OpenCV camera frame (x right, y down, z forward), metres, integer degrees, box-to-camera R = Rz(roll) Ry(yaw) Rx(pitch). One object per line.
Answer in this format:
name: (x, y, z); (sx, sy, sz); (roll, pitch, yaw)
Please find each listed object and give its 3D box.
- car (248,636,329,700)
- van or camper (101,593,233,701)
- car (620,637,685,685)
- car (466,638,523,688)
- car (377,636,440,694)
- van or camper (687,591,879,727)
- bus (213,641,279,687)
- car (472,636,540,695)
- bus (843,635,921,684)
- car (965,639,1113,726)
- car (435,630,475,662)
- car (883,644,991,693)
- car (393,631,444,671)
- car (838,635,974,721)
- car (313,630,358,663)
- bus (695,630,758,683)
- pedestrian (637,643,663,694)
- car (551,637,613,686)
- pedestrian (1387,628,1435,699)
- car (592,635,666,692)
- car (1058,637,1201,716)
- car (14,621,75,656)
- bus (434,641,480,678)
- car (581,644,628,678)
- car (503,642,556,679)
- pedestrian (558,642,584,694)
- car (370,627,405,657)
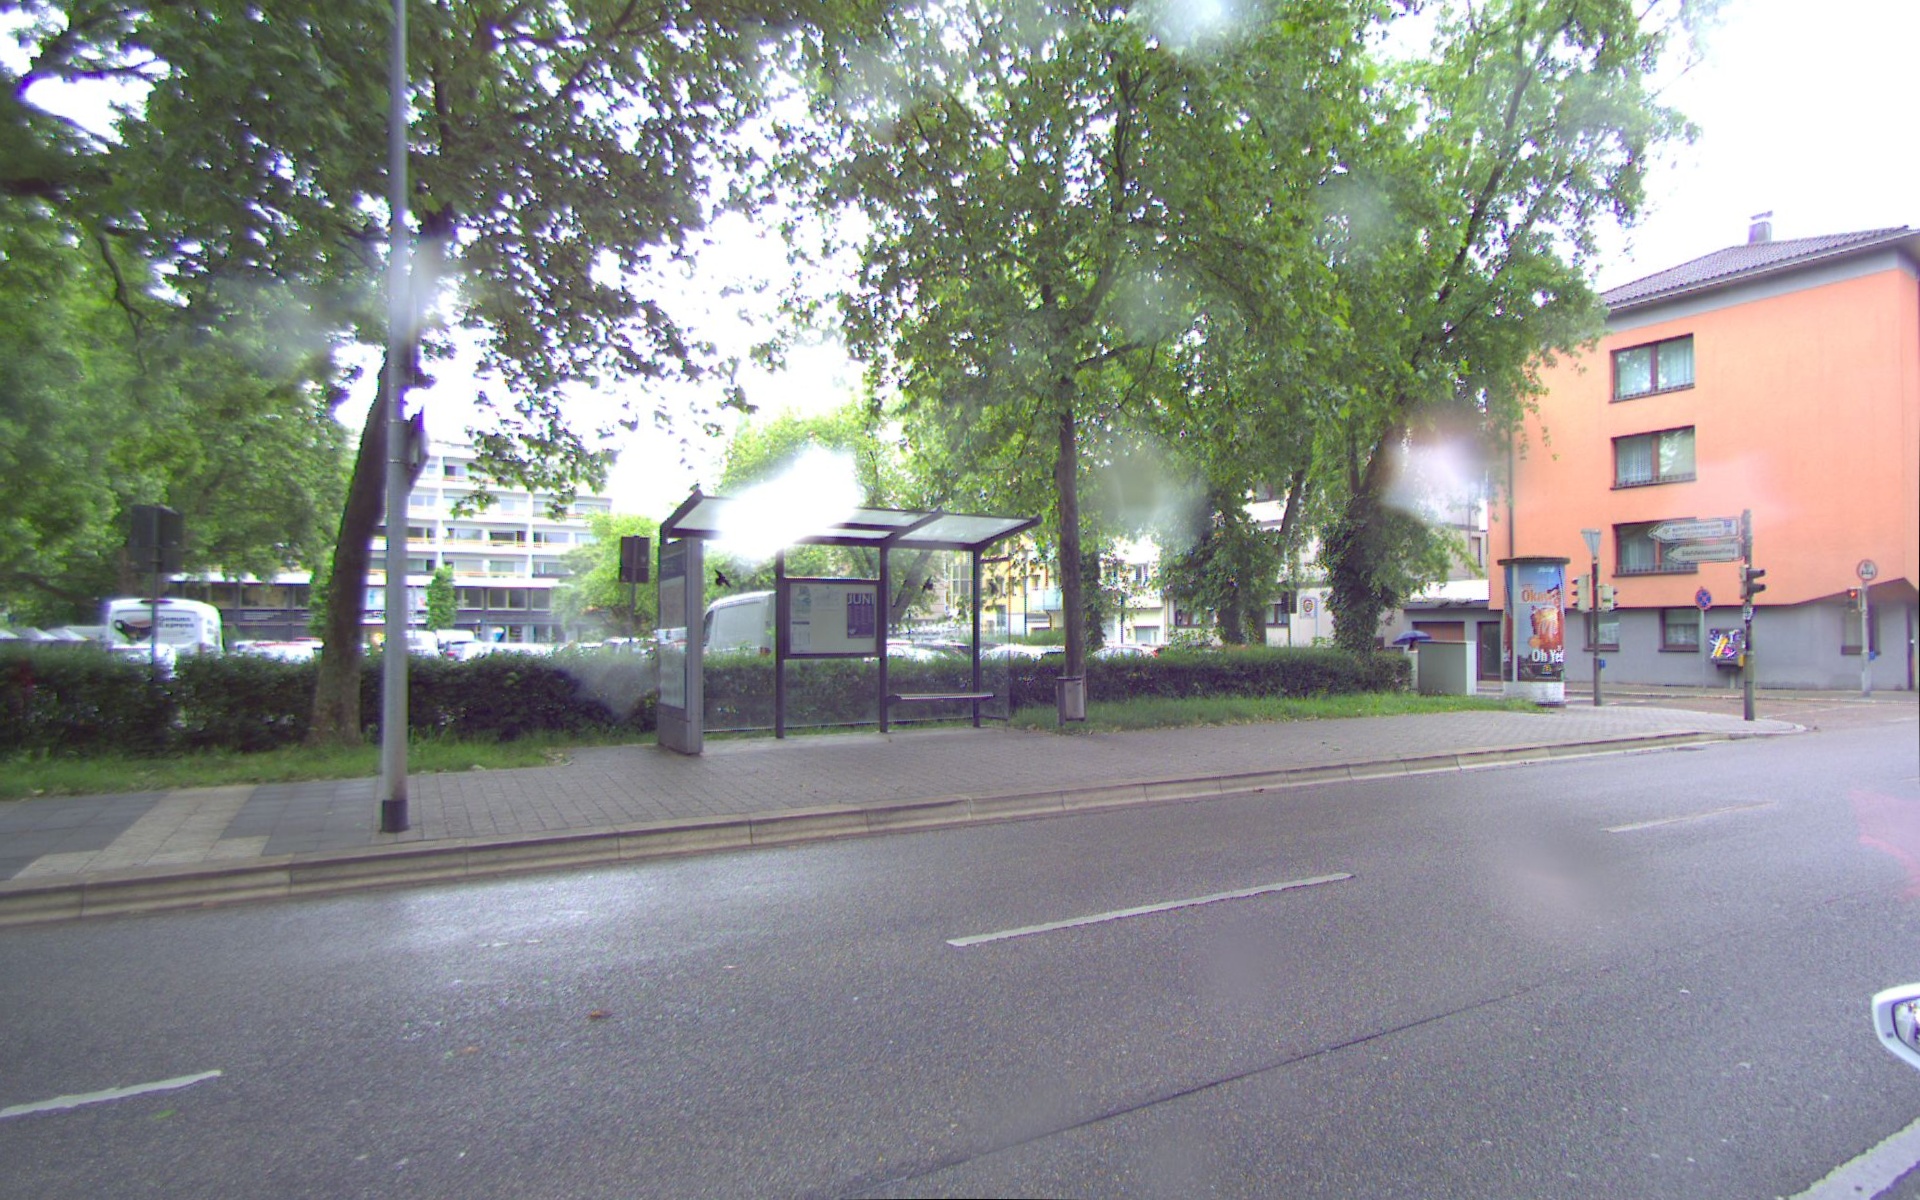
car: (-16.502, 1.642, 24.791); (1.375, 1.454, 3.248); (1, -3, -29)
van or camper: (-20.689, 1.229, 26.422); (2.074, 2.570, 4.391); (1, -3, -30)
car: (-9.984, 1.957, 32.475); (1.375, 1.454, 3.248); (1, -3, -29)
car: (-14.533, 1.941, 31.281); (1.375, 1.454, 3.248); (1, -3, -29)
car: (-14.724, 1.701, 26.852); (1.375, 1.454, 3.248); (1, -3, -29)
van or camper: (-3.420, 1.061, 18.694); (2.026, 2.198, 4.458); (2, -3, -32)
bus: (-25.540, 2.276, 36.016); (1.587, 1.559, 3.403); (2, -3, -30)
car: (-12.081, 1.714, 26.649); (1.375, 1.454, 3.248); (1, -3, -29)
bus: (-2.473, 1.833, 31.492); (1.364, 1.451, 2.777); (1, -3, -30)
car: (1.593, 1.662, 21.171); (1.492, 1.544, 3.174); (2, 0, -32)
car: (-27.198, 2.461, 54.035); (1.622, 1.544, 3.174); (2, 0, -32)
car: (-0.824, 2.228, 33.519); (1.799, 1.536, 3.965); (2, -3, -33)
car: (-20.892, 1.950, 38.688); (1.587, 1.447, 3.293); (2, -3, -30)
car: (-1.202, 1.578, 21.188); (1.492, 1.544, 3.174); (2, 0, -32)
car: (-31.413, 2.317, 50.584); (1.818, 1.444, 3.799); (2, 0, -31)
bus: (-7.821, 1.868, 33.523); (1.363, 1.698, 2.779); (1, -3, -28)
pedestrian: (-7.629, 1.674, 24.719); (0.462, 1.229, 0.434); (2, 0, -37)
car: (-11.949, 1.920, 31.683); (1.375, 1.454, 3.248); (1, -3, -29)
pedestrian: (11.893, 1.643, 26.452); (0.977, 1.765, 1.206); (1, 0, 32)
car: (-9.103, 1.716, 27.507); (1.375, 1.454, 3.248); (1, -3, -29)
car: (3.814, 1.686, 23.042); (1.492, 1.544, 3.174); (2, 0, -32)
car: (-40.890, 1.697, 44.912); (1.412, 1.447, 2.941); (1, 0, -30)
bus: (-22.363, 2.615, 44.571); (1.587, 1.559, 3.403); (2, -3, -30)
car: (-15.188, 2.583, 42.829); (1.332, 1.401, 3.141); (1, -3, -30)
car: (-17.687, 2.457, 41.238); (1.587, 1.447, 3.293); (2, -3, -30)
pedestrian: (-9.351, 1.627, 24.154); (0.462, 1.229, 0.434); (2, 0, -37)
car: (-33.056, 2.398, 57.950); (1.622, 1.544, 3.174); (1, 1, -32)
